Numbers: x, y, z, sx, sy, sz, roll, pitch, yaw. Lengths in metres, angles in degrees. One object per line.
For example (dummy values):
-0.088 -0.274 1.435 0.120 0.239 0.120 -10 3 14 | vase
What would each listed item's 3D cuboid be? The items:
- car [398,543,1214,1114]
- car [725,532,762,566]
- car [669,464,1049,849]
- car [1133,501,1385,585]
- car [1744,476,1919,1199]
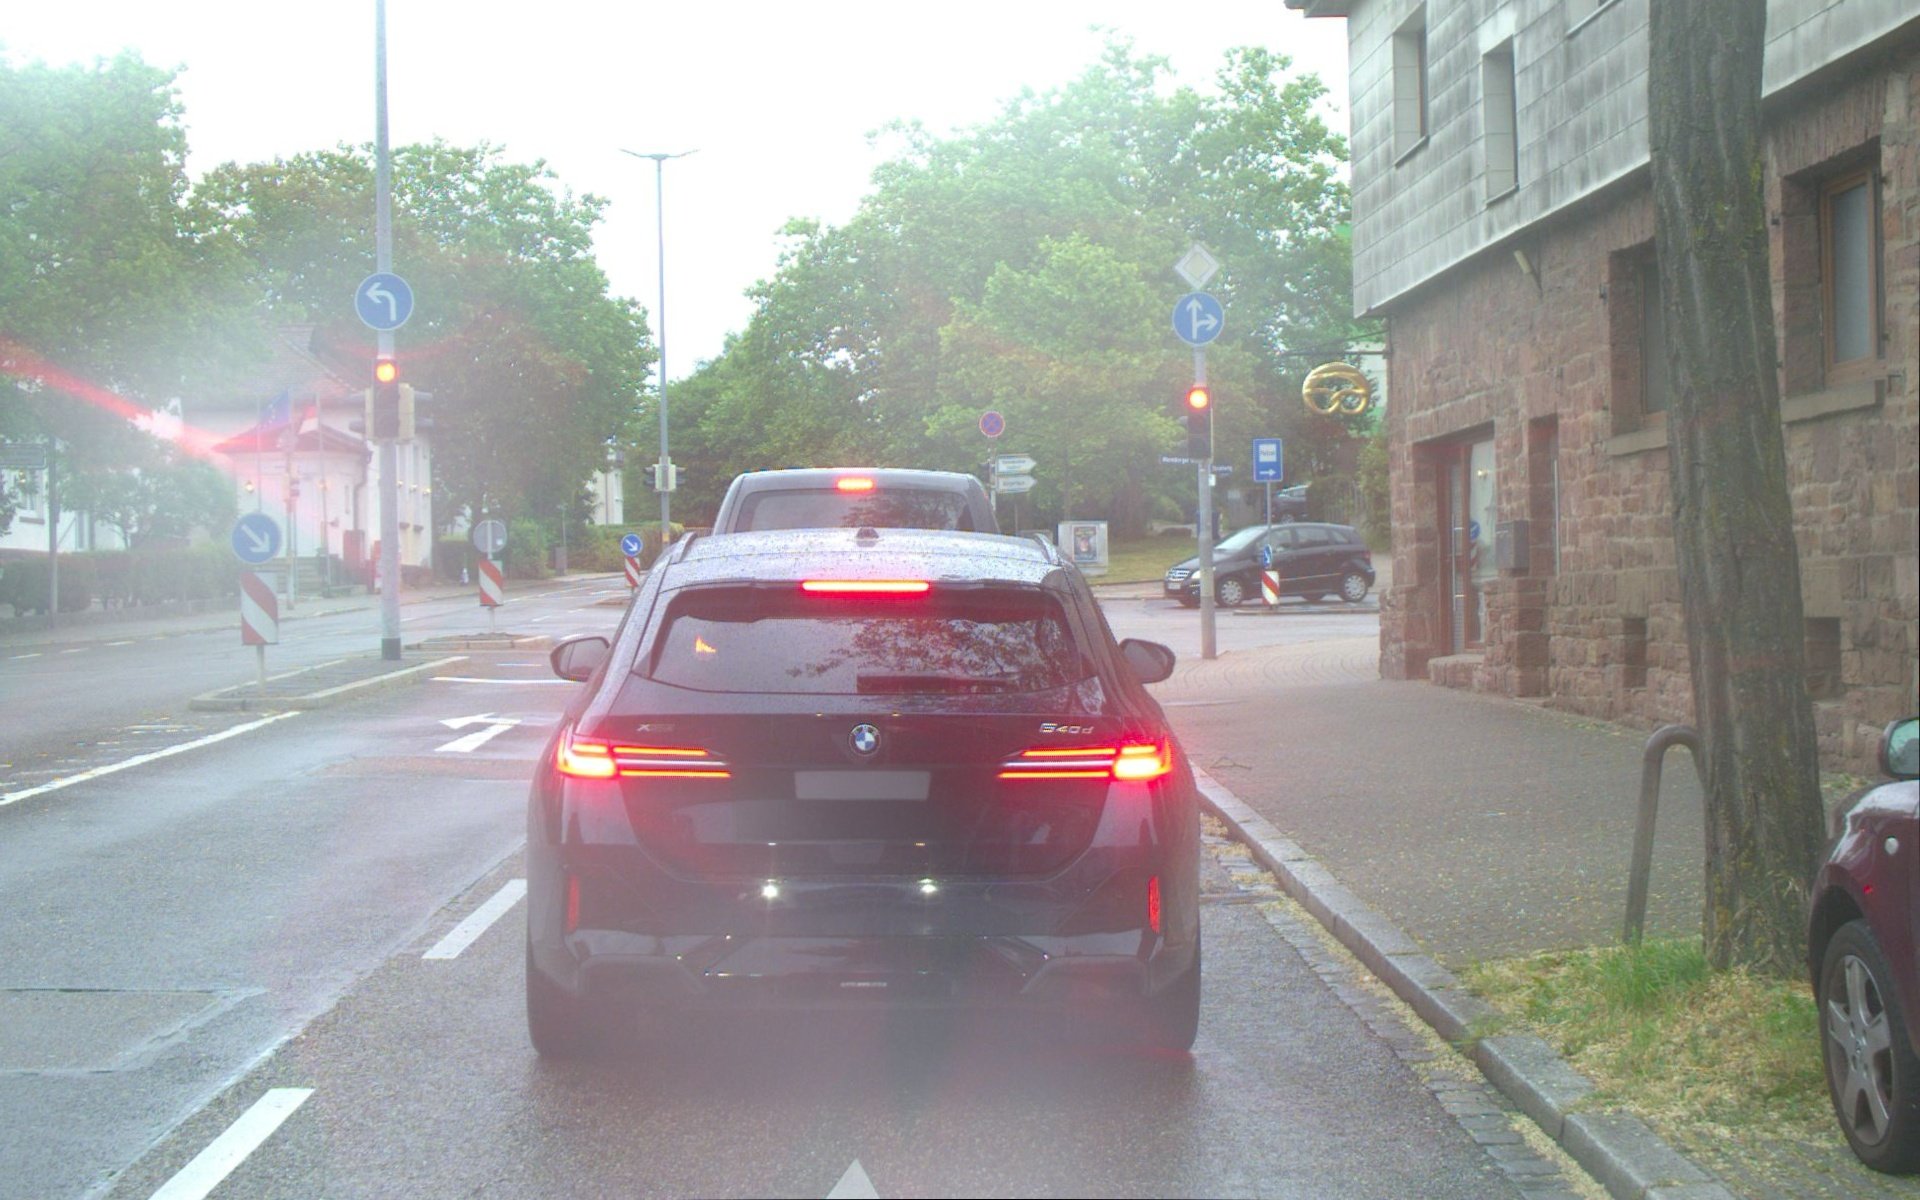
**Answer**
-0.504 0.550 11.000 2.064 1.441 4.484 0 1 -3 | car
-9.268 -2.190 147.401 1.464 1.393 3.322 0 1 -1 | car
-0.566 0.215 18.224 1.783 1.811 4.001 0 1 -3 | car
5.882 -1.114 67.695 4.467 1.581 2.072 0 1 -19 | car
2.730 0.486 6.153 1.583 1.485 3.628 -4 2 -3 | car
